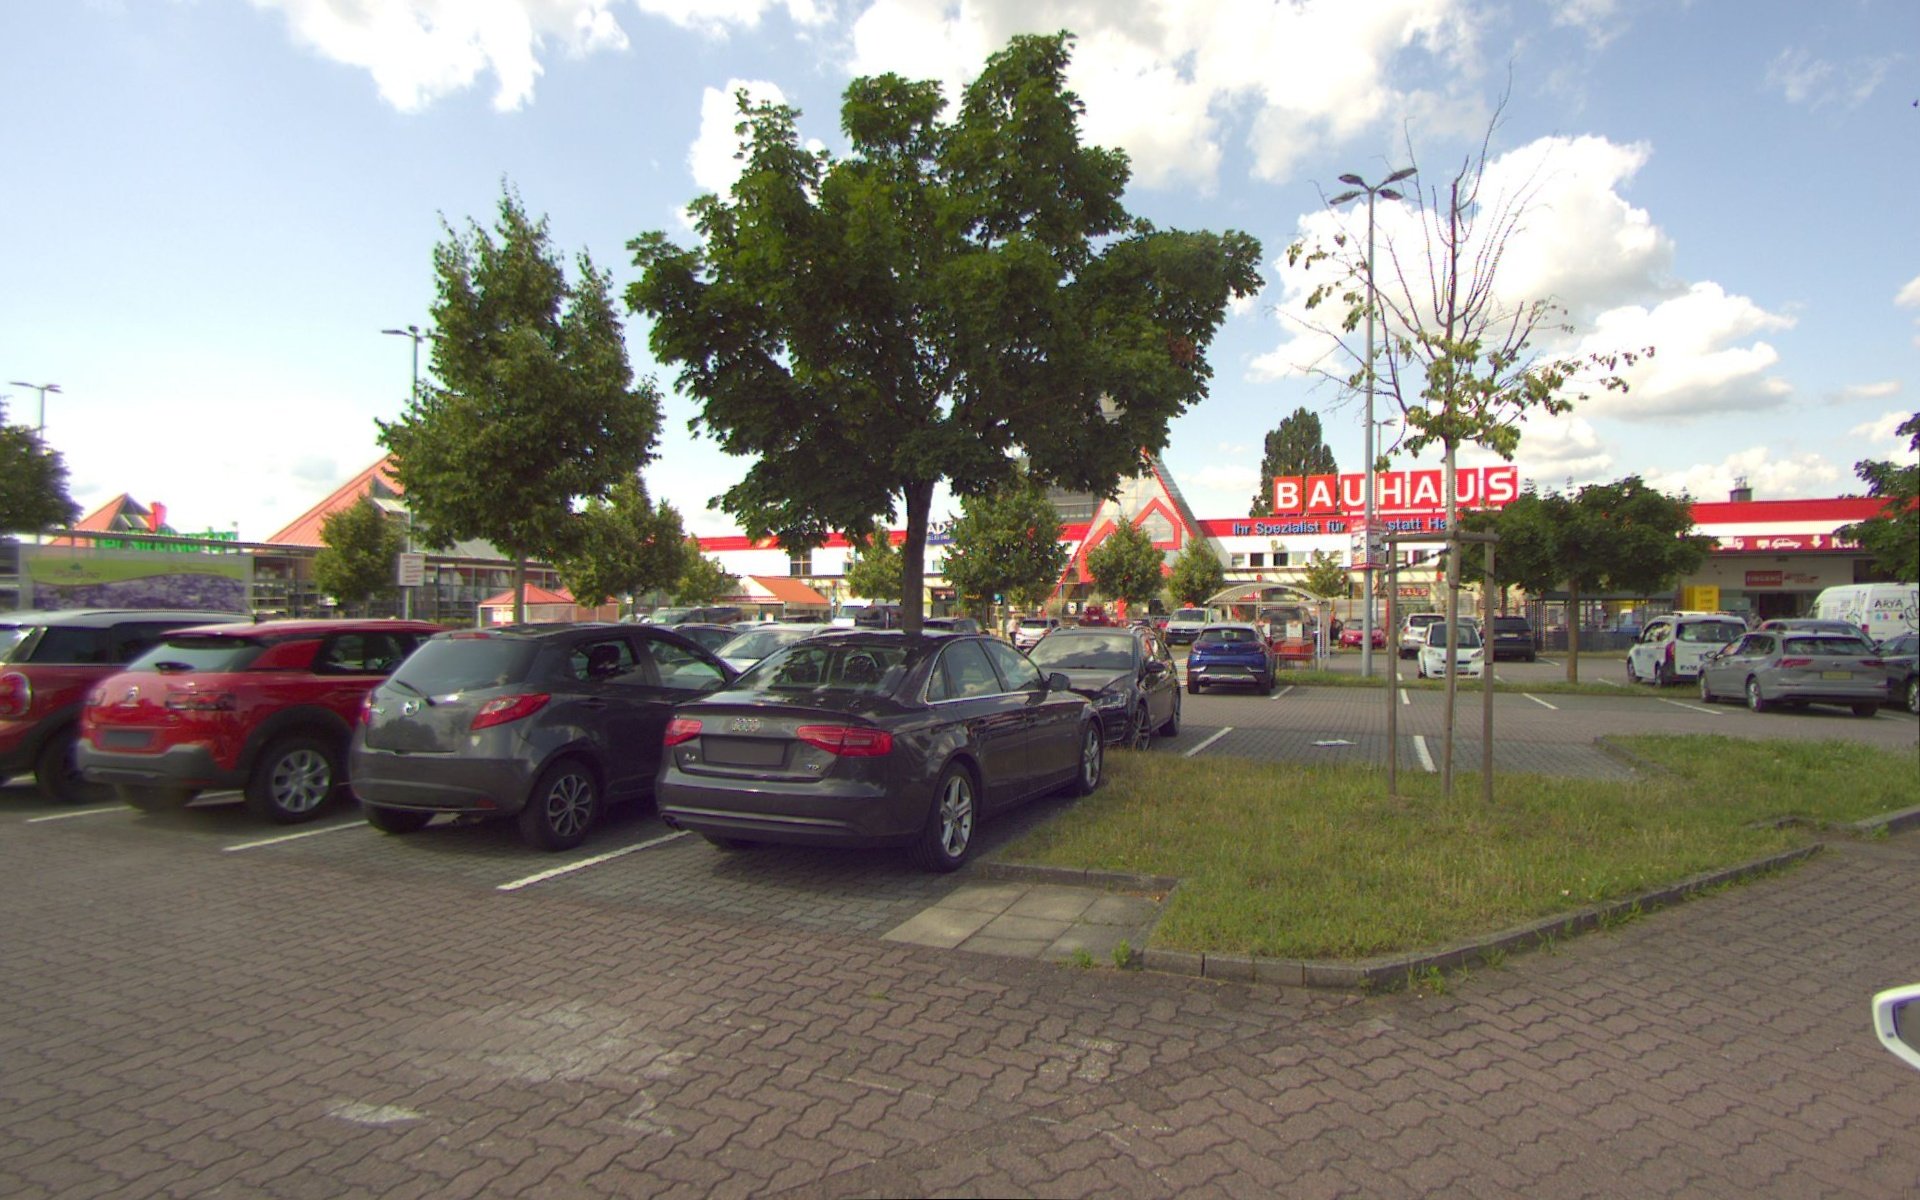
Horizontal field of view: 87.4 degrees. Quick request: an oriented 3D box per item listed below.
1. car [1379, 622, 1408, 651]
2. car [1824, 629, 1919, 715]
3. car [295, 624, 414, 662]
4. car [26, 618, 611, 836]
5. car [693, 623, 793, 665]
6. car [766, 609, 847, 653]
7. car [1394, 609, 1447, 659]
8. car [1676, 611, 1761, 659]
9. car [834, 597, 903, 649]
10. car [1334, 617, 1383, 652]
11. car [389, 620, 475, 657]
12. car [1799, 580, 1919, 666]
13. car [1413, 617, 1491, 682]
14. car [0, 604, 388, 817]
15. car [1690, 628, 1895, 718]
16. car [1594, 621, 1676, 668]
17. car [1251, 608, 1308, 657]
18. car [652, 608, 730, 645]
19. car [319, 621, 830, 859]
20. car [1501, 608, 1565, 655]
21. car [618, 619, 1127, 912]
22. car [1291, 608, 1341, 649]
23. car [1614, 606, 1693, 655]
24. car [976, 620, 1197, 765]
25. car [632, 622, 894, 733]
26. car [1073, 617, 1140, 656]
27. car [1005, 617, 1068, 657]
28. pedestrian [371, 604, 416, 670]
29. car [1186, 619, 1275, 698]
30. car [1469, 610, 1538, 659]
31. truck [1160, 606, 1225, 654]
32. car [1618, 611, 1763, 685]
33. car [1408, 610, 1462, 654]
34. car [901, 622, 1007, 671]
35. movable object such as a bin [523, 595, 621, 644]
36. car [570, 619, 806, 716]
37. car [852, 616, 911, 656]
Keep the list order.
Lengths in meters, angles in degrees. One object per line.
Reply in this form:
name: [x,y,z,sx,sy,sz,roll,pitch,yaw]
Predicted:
car: [23.411,1.953,54.340,1.140,1.443,2.538,3,0,18]
car: [17.911,1.286,18.373,1.792,1.458,4.091,0,-1,19]
car: [-20.922,1.521,34.772,1.526,1.235,3.250,-4,-5,43]
car: [-5.143,0.879,8.788,1.732,1.417,4.088,0,-1,21]
car: [-7.729,1.533,36.076,1.711,1.405,3.558,0,-1,25]
car: [-7.301,1.463,48.154,1.962,2.040,3.997,0,-1,25]
car: [17.193,1.268,37.603,1.571,1.766,3.166,-1,-2,22]
car: [34.770,1.579,46.179,1.961,2.040,4.000,2,-1,20]
car: [-4.982,1.262,55.139,2.194,2.671,4.331,1,-1,18]
car: [17.197,1.466,43.479,1.708,1.357,3.467,3,0,18]
car: [-22.784,1.653,43.398,1.434,1.440,2.987,3,0,24]
car: [29.216,0.700,32.369,2.013,2.543,4.726,1,0,23]
car: [13.284,1.289,27.309,1.687,1.617,3.998,0,-1,23]
car: [-7.444,0.865,9.294,1.676,1.602,3.447,0,-1,21]
car: [15.227,1.263,18.637,1.691,1.466,3.774,0,-1,19]
car: [23.096,1.486,34.489,1.513,1.424,3.625,3,0,22]
car: [12.419,1.233,38.916,1.961,1.802,4.000,0,-1,20]
car: [-16.035,1.594,60.152,1.961,2.040,4.806,3,0,22]
car: [-2.688,0.871,8.054,1.548,1.387,4.000,0,-1,21]
car: [27.805,1.524,48.853,1.961,2.040,4.000,3,0,20]
car: [-0.215,0.877,7.438,1.738,1.451,4.539,0,-1,25]
car: [19.658,1.581,55.409,1.963,2.040,3.995,3,0,27]
car: [32.138,1.411,46.666,1.961,2.040,4.000,3,0,20]
car: [1.737,1.000,12.426,1.758,1.369,4.066,3,0,21]
car: [-2.697,1.025,14.870,1.857,1.371,4.281,0,-1,20]
car: [6.181,1.497,41.989,1.961,1.529,3.999,0,-1,21]
car: [3.268,1.550,42.431,1.694,1.529,3.237,3,0,21]
pedestrian: [-17.766,1.150,31.534,0.801,2.040,0.915,0,-1,21]
car: [6.282,1.271,23.059,1.717,1.636,3.725,0,-1,19]
car: [19.511,1.213,36.175,1.731,1.545,3.468,-1,1,22]
truck: [11.025,1.409,47.336,1.825,2.040,5.405,3,0,25]
car: [17.600,1.109,24.430,1.873,1.617,3.999,0,-1,21]
car: [23.779,1.590,50.401,1.961,2.040,4.000,3,0,20]
car: [-0.110,1.462,32.869,1.961,1.487,4.415,0,-1,22]
movable object such as a bin: [-20.965,1.085,54.577,2.088,2.527,5.339,0,-1,18]
car: [-4.375,1.048,16.818,1.789,1.300,3.891,3,0,22]
car: [-3.491,1.586,45.188,1.663,1.635,2.658,3,0,18]
